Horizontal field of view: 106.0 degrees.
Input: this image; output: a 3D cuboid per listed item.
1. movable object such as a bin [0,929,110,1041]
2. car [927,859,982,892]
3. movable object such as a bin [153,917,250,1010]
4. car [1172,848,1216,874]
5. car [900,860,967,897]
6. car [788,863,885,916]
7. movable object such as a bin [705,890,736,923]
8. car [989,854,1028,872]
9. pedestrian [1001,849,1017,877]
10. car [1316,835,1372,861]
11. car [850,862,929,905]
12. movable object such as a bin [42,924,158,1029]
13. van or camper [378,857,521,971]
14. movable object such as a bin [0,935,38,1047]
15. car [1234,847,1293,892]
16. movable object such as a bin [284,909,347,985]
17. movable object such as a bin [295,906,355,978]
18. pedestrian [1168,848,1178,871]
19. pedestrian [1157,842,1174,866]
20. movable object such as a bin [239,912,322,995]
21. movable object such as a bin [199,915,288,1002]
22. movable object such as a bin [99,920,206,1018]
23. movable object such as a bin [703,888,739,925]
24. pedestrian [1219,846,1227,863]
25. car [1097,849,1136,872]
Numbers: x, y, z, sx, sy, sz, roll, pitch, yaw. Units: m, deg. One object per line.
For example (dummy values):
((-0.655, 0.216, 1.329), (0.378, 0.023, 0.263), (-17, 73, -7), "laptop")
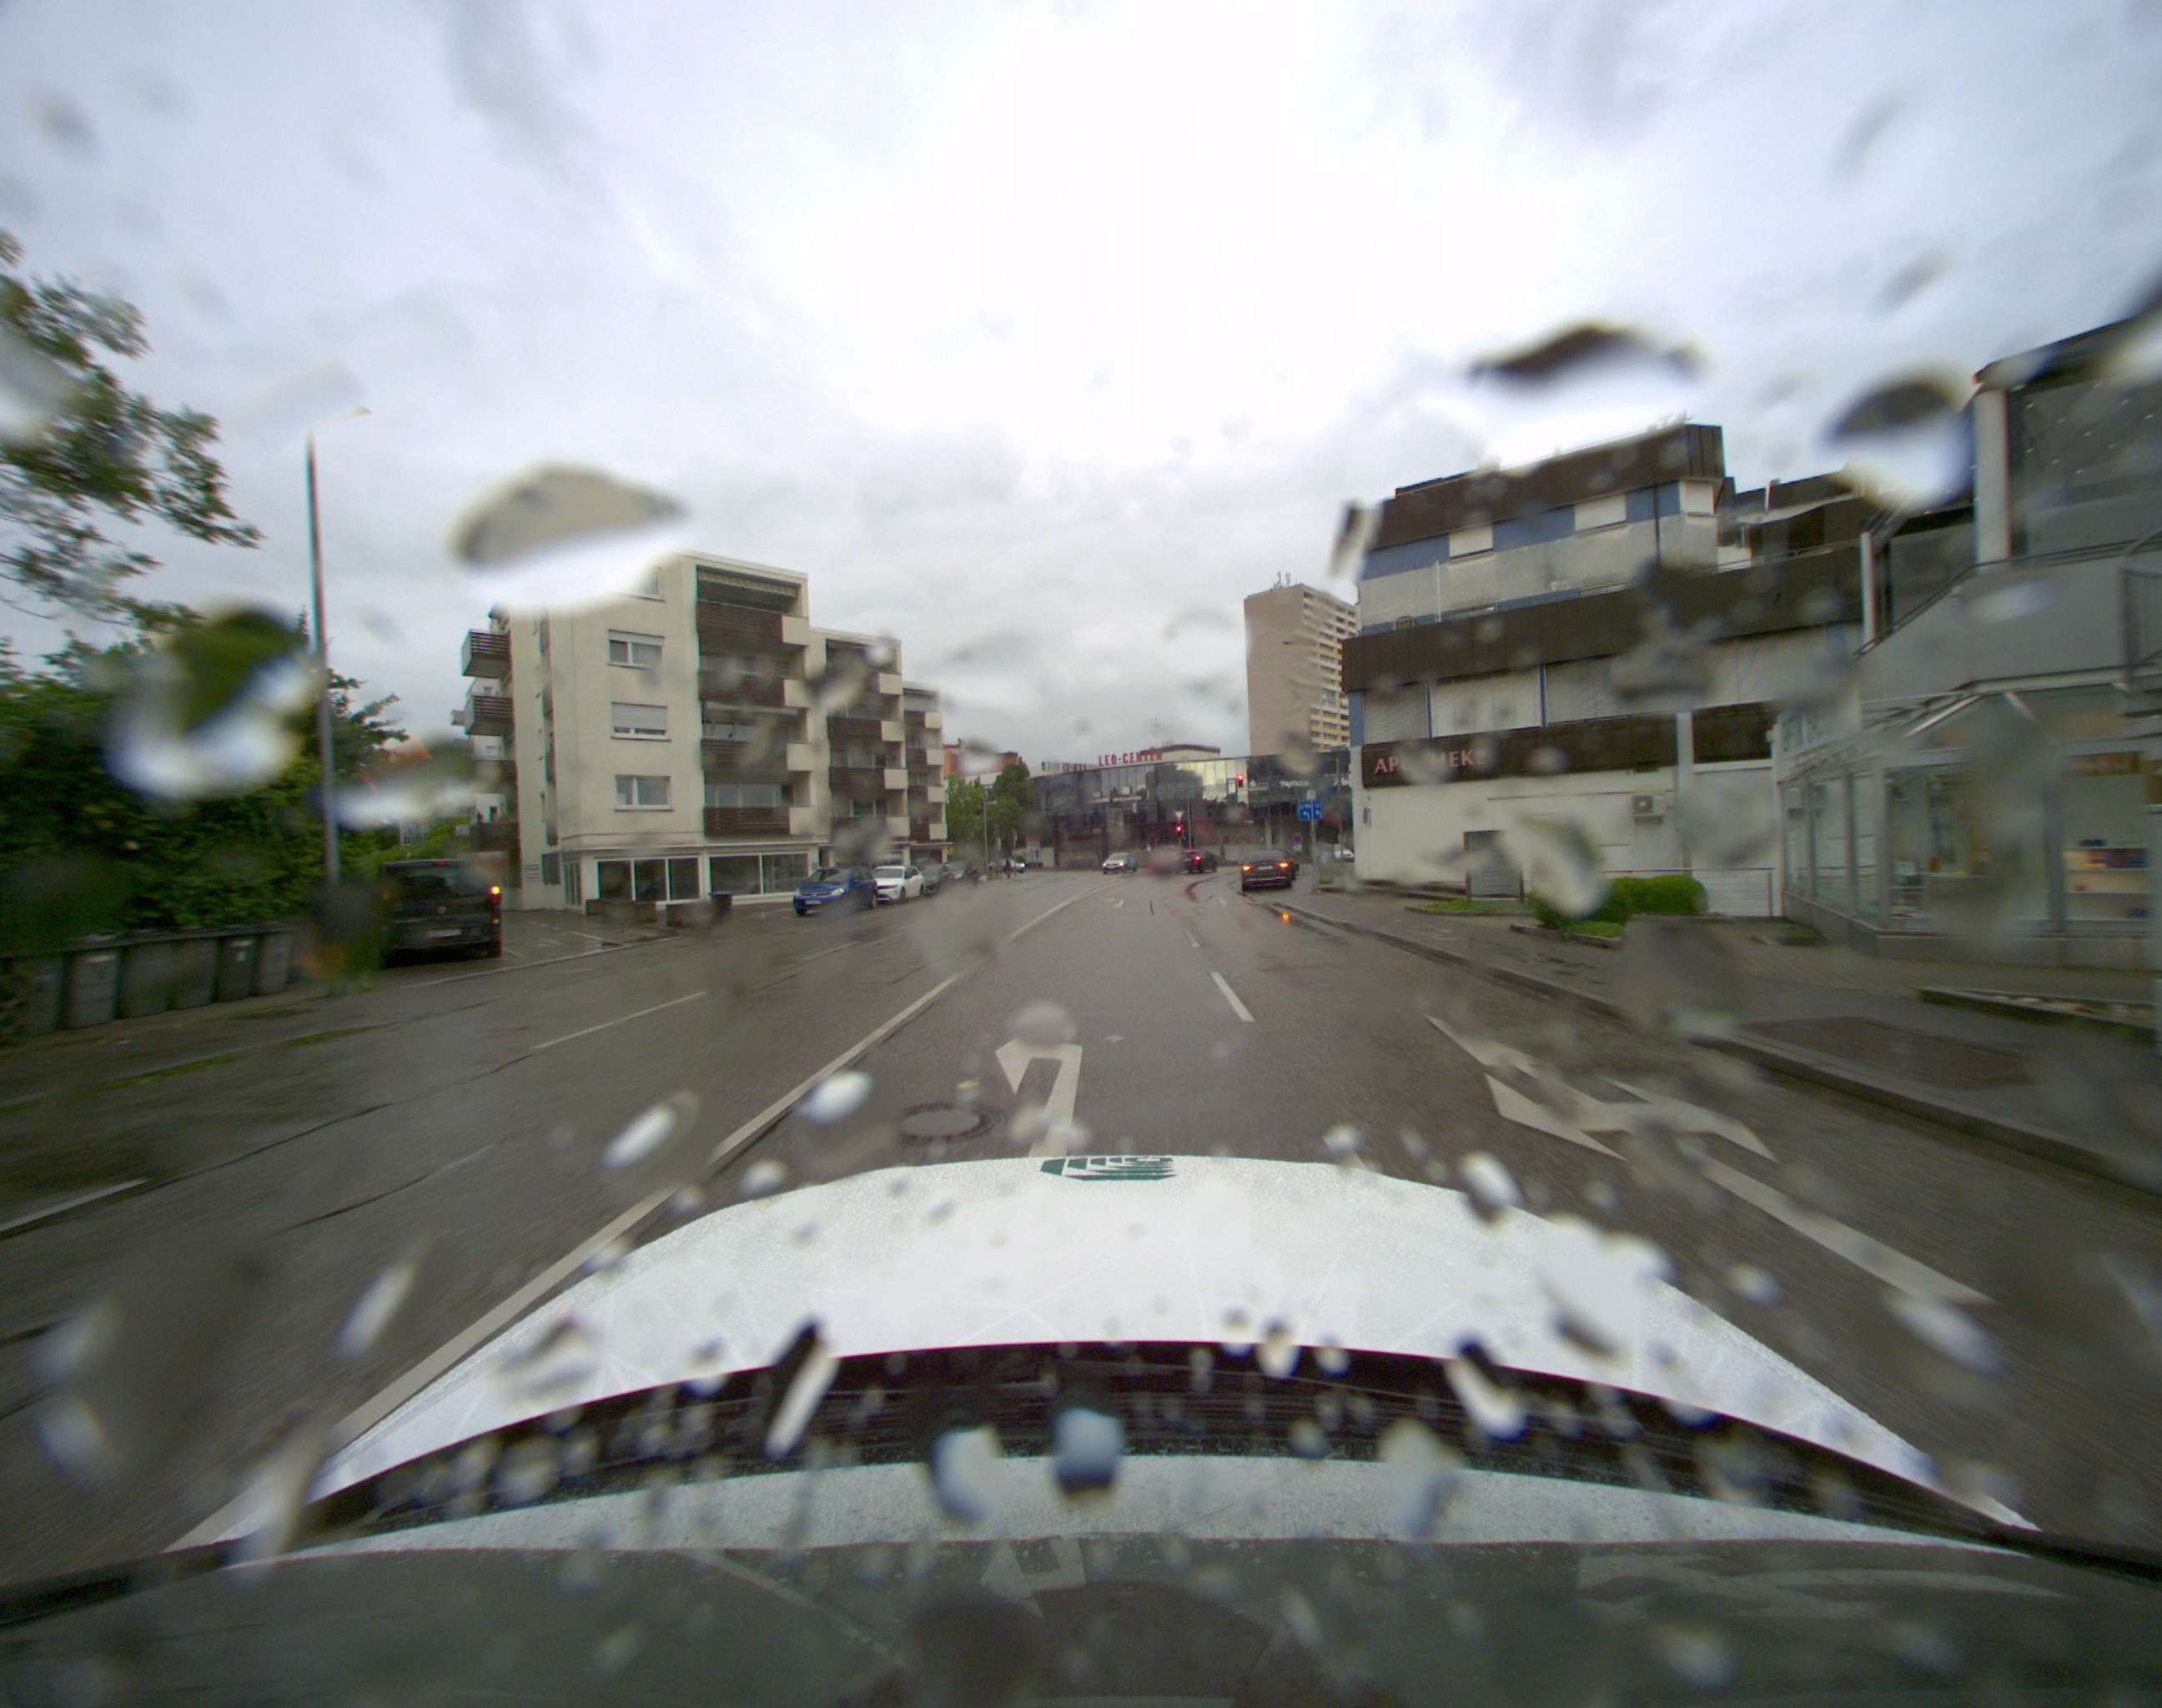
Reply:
((-11.383, 1.429, 8.982), (0.597, 1.118, 0.601), (-2, 0, 1), "movable object such as a bin")
((-6.731, 1.120, 43.850), (1.925, 1.541, 4.278), (-2, 0, 5), "car")
((-11.691, 1.435, 10.841), (0.599, 1.118, 0.599), (-3, 0, -9), "movable object such as a bin")
((7.038, 0.418, 50.293), (1.789, 1.419, 4.021), (-3, 0, 21), "car")
((-6.832, 1.090, 38.232), (1.925, 1.541, 4.527), (-2, 0, 5), "car")
((-8.110, 1.134, 27.427), (1.644, 1.521, 4.329), (-2, 0, 4), "car")
((-10.534, 1.525, 23.826), (0.571, 0.903, 0.598), (-3, 0, 4), "movable object such as a bin")
((-7.135, 0.870, 79.481), (2.007, 1.511, 4.388), (1, 2, -33), "car")
((-5.175, 0.661, 58.728), (0.741, 2.013, 0.926), (2, 0, 25), "pedestrian")
((22.010, -0.454, 68.206), (2.010, 2.013, 3.954), (-2, 0, -39), "car")
((-7.572, 1.133, 32.674), (1.685, 1.464, 4.690), (-2, 0, 5), "car")
((-11.567, 1.427, 9.619), (0.597, 1.118, 0.601), (-2, 0, 1), "movable object such as a bin")
((-13.351, 1.094, 17.109), (2.011, 1.924, 5.156), (-4, 2, -40), "van or camper")
((-11.407, 1.432, 8.358), (0.597, 1.118, 0.601), (-2, 0, 1), "movable object such as a bin")
((6.957, 0.573, 30.764), (1.979, 1.534, 4.664), (-1, -1, 14), "car")
((-12.337, 1.485, 13.142), (0.603, 1.118, 0.595), (-3, 0, -32), "movable object such as a bin")
((-12.779, 1.468, 13.777), (0.603, 1.118, 0.595), (-3, 0, -32), "movable object such as a bin")
((6.595, 0.398, 58.186), (0.608, 1.659, 0.672), (1, 1, -1), "pedestrian")
((5.954, -0.012, 57.313), (0.913, 1.659, 0.749), (1, 1, -23), "pedestrian")
((-11.859, 1.456, 12.088), (0.599, 1.118, 0.599), (-3, 0, -9), "movable object such as a bin")
((-11.769, 1.455, 11.462), (0.599, 1.118, 0.599), (-3, 0, -9), "movable object such as a bin")
((-11.624, 1.423, 10.217), (0.599, 1.118, 0.599), (-3, 0, -9), "movable object such as a bin")
((-10.207, 1.482, 23.079), (0.645, 0.966, 0.683), (-3, 0, 4), "movable object such as a bin")
((17.077, 0.051, 98.195), (0.782, 2.013, 0.673), (-3, -1, 14), "pedestrian")
((2.620, 0.438, 58.913), (1.811, 1.439, 3.858), (-4, 1, 16), "car")
